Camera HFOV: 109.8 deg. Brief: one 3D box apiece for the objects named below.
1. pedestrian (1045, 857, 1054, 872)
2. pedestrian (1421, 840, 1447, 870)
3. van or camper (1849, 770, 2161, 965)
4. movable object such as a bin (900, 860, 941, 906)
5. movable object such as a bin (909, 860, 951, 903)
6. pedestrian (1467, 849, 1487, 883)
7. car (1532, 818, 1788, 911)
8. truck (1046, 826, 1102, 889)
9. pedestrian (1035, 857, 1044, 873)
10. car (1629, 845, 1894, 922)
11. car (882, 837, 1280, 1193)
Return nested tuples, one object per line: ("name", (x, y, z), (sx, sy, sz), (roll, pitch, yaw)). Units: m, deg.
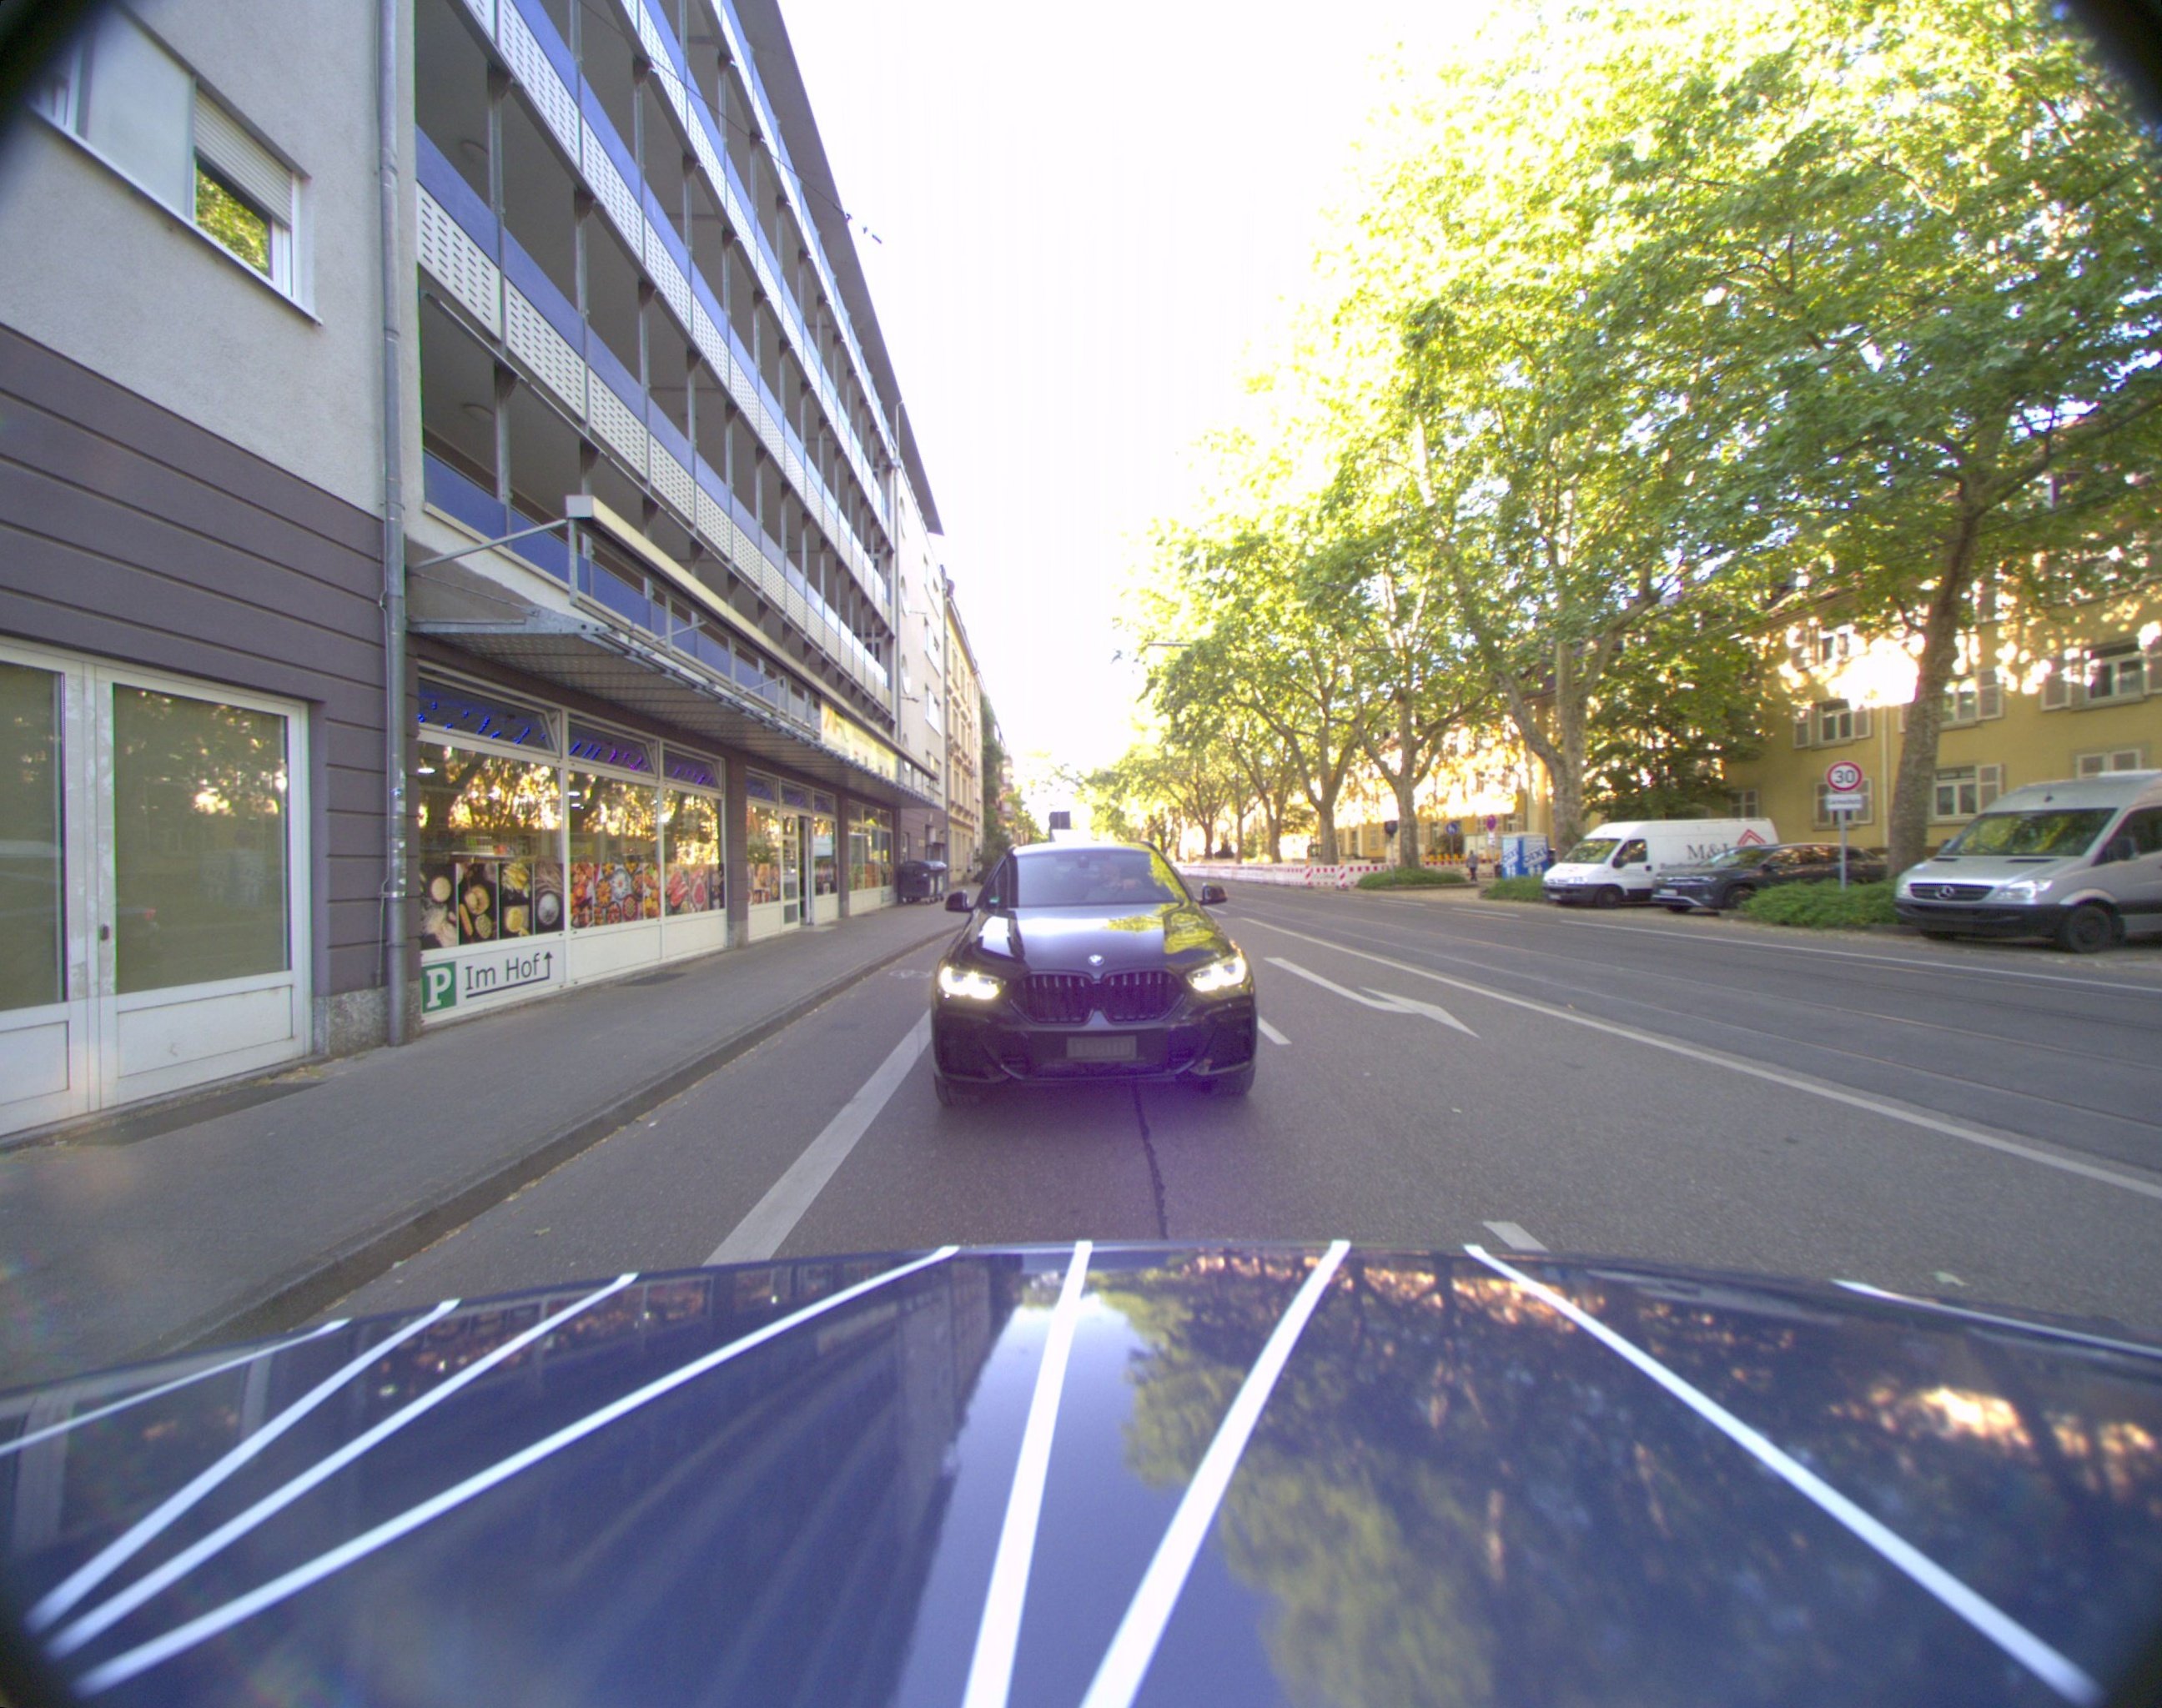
("pedestrian", (-3.581, 1.174, 85.222), (0.876, 1.728, 0.848), (-3, 1, 1))
("pedestrian", (24.047, 0.097, 51.794), (1.098, 2.002, 1.235), (-1, 0, -4))
("van or camper", (16.094, 0.128, 11.806), (6.127, 2.661, 2.229), (-2, 0, -2))
("movable object such as a bin", (-5.222, 0.933, 24.817), (1.069, 1.438, 1.296), (-1, 0, -1))
("movable object such as a bin", (-5.282, 0.953, 26.713), (1.122, 1.437, 1.306), (-1, 0, 4))
("pedestrian", (18.583, 0.564, 35.658), (0.596, 1.563, 0.717), (-1, 0, 3))
("car", (15.857, 0.275, 21.005), (5.612, 2.361, 2.025), (-1, 0, -2))
("truck", (-0.570, 0.202, 43.162), (2.385, 3.165, 8.525), (2, 0, -5))
("pedestrian", (-4.596, 1.226, 84.996), (0.876, 1.728, 0.848), (-3, 1, 1))
("car", (15.945, 0.657, 17.979), (4.575, 1.621, 1.969), (-1, 0, -2))
("car", (0.025, 0.824, 6.064), (1.943, 1.733, 4.475), (-2, 0, 1))
